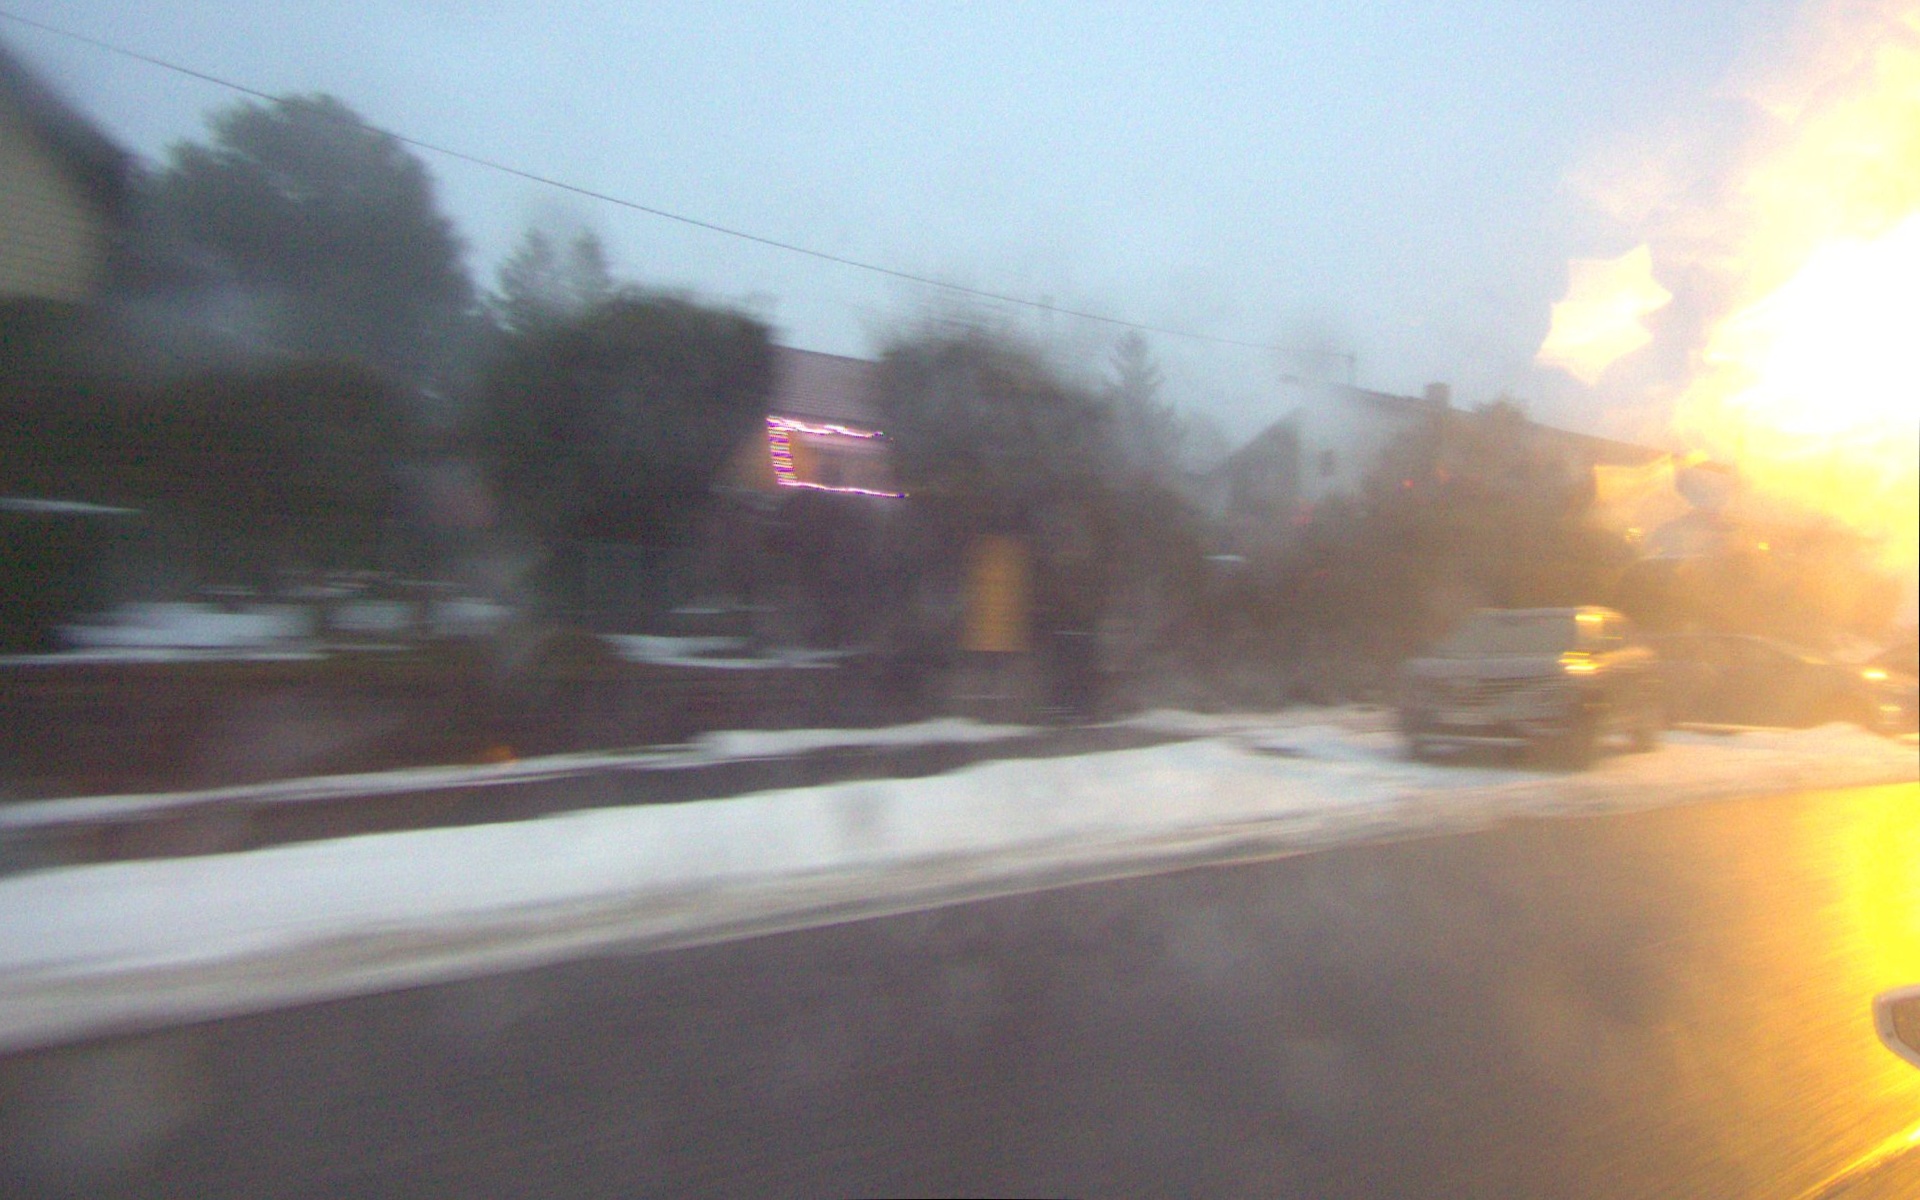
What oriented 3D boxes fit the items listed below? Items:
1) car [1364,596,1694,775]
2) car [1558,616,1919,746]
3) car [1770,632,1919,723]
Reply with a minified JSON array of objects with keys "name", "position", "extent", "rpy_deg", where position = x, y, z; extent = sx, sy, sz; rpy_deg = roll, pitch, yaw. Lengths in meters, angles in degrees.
[{"name":"car","position":[6.616,0.910,11.394],"extent":[4.966,1.586,1.974],"rpy_deg":[3,-5,-45]},{"name":"car","position":[11.460,1.078,14.420],"extent":[2.089,1.587,4.500],"rpy_deg":[2,-3,-34]},{"name":"car","position":[16.535,1.300,17.121],"extent":[1.916,1.491,3.836],"rpy_deg":[2,-3,-30]}]
